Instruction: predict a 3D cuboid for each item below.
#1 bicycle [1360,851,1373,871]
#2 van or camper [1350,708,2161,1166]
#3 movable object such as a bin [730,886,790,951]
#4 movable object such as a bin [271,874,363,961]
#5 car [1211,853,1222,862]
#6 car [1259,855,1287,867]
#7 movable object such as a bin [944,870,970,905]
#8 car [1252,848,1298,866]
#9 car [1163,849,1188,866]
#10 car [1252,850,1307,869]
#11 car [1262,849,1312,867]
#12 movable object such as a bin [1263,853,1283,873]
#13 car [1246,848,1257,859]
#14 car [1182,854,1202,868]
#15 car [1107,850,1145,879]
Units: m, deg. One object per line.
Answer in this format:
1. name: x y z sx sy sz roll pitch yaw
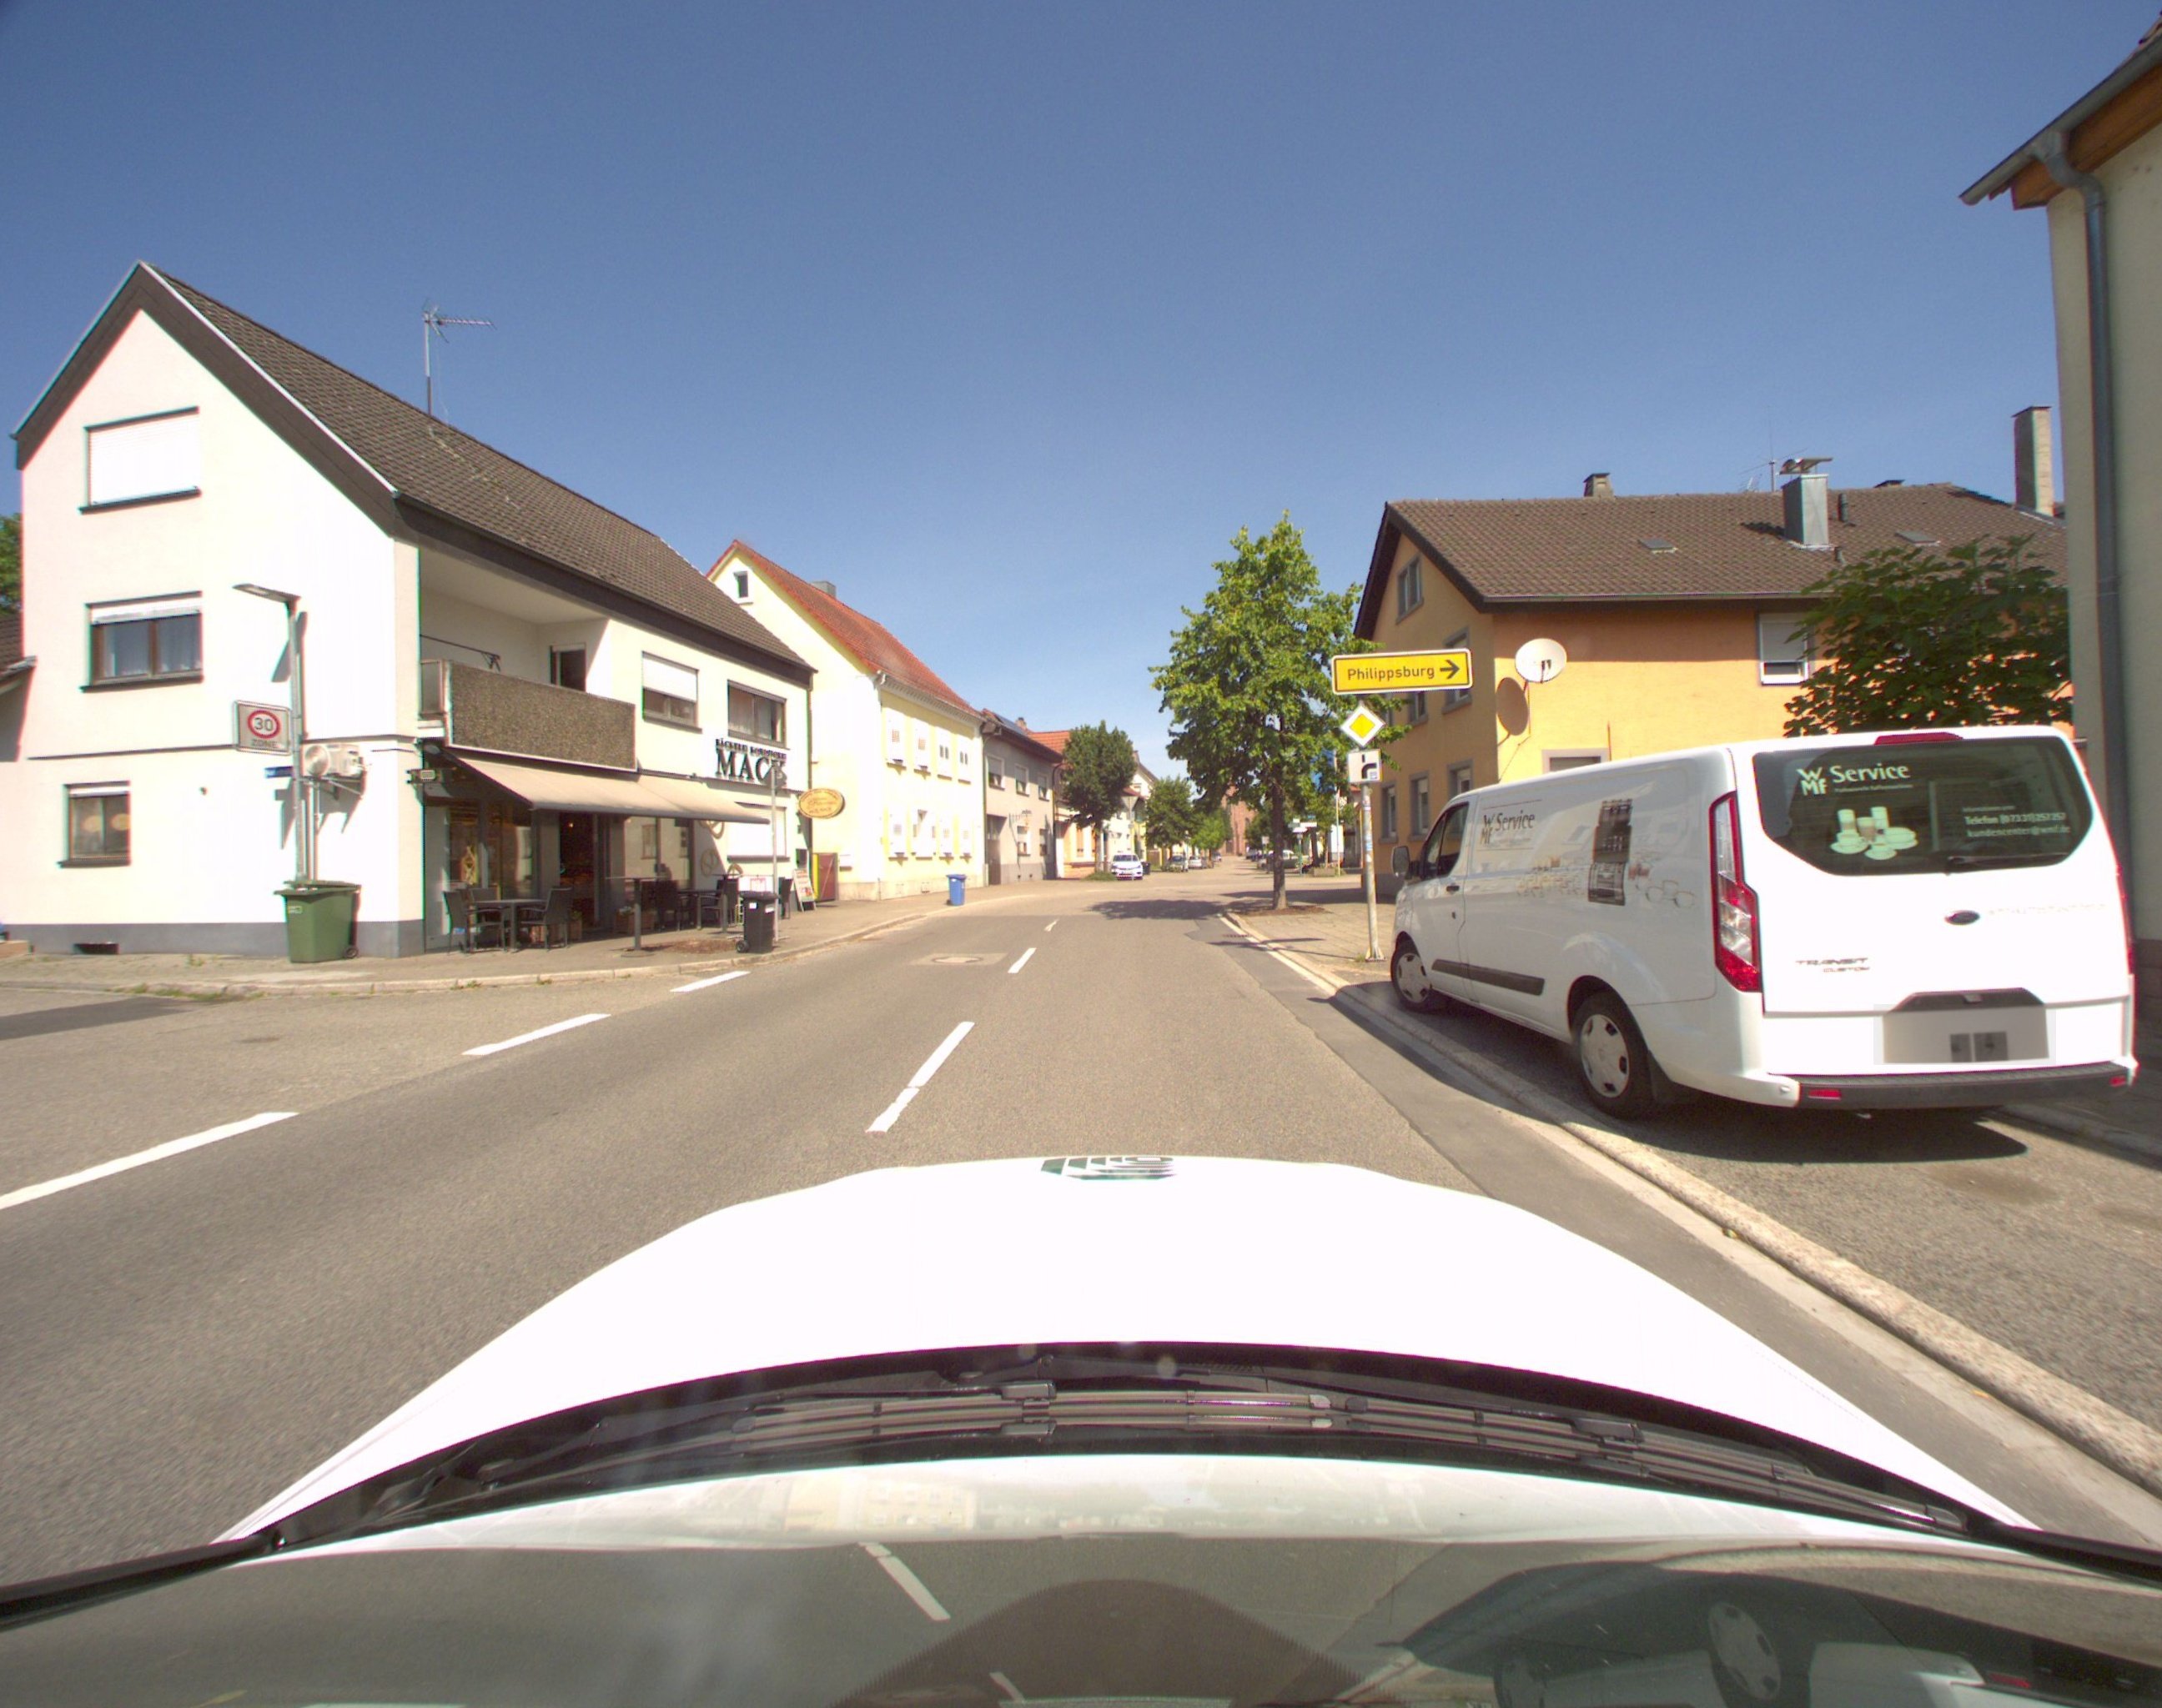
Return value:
1. bicycle: 16.759 0.407 47.818 0.589 1.136 1.755 -2 0 15
2. van or camper: 3.868 0.354 6.203 1.986 1.953 5.348 -1 0 1
3. movable object such as a bin: -4.837 0.966 12.298 0.640 0.924 0.614 -1 0 1
4. movable object such as a bin: -10.510 0.857 11.219 0.667 1.137 0.647 -1 0 13
5. car: 26.123 0.680 157.224 1.982 1.816 4.009 -2 0 8
6. car: 28.789 1.041 122.489 3.962 1.618 2.006 -2 0 10
7. movable object such as a bin: -3.675 0.989 24.166 0.640 0.980 0.614 -1 0 4
8. car: 18.209 0.281 76.455 4.123 1.568 2.007 -1 0 11
9. car: 8.956 0.332 76.887 1.981 1.574 4.012 -2 0 11
10. car: 17.938 0.476 73.657 4.772 1.623 2.007 -1 0 11
11. car: 16.915 0.319 67.020 3.898 1.344 2.007 -1 0 11
12. movable object such as a bin: 12.914 0.602 54.778 1.179 1.338 0.792 -2 0 15
13. car: 35.979 -0.050 171.542 2.230 2.279 4.517 0 -1 12
14. car: 11.878 0.710 87.523 1.984 1.464 4.006 -1 0 5
15. car: 2.419 0.544 44.694 1.843 1.440 4.513 -1 0 1
